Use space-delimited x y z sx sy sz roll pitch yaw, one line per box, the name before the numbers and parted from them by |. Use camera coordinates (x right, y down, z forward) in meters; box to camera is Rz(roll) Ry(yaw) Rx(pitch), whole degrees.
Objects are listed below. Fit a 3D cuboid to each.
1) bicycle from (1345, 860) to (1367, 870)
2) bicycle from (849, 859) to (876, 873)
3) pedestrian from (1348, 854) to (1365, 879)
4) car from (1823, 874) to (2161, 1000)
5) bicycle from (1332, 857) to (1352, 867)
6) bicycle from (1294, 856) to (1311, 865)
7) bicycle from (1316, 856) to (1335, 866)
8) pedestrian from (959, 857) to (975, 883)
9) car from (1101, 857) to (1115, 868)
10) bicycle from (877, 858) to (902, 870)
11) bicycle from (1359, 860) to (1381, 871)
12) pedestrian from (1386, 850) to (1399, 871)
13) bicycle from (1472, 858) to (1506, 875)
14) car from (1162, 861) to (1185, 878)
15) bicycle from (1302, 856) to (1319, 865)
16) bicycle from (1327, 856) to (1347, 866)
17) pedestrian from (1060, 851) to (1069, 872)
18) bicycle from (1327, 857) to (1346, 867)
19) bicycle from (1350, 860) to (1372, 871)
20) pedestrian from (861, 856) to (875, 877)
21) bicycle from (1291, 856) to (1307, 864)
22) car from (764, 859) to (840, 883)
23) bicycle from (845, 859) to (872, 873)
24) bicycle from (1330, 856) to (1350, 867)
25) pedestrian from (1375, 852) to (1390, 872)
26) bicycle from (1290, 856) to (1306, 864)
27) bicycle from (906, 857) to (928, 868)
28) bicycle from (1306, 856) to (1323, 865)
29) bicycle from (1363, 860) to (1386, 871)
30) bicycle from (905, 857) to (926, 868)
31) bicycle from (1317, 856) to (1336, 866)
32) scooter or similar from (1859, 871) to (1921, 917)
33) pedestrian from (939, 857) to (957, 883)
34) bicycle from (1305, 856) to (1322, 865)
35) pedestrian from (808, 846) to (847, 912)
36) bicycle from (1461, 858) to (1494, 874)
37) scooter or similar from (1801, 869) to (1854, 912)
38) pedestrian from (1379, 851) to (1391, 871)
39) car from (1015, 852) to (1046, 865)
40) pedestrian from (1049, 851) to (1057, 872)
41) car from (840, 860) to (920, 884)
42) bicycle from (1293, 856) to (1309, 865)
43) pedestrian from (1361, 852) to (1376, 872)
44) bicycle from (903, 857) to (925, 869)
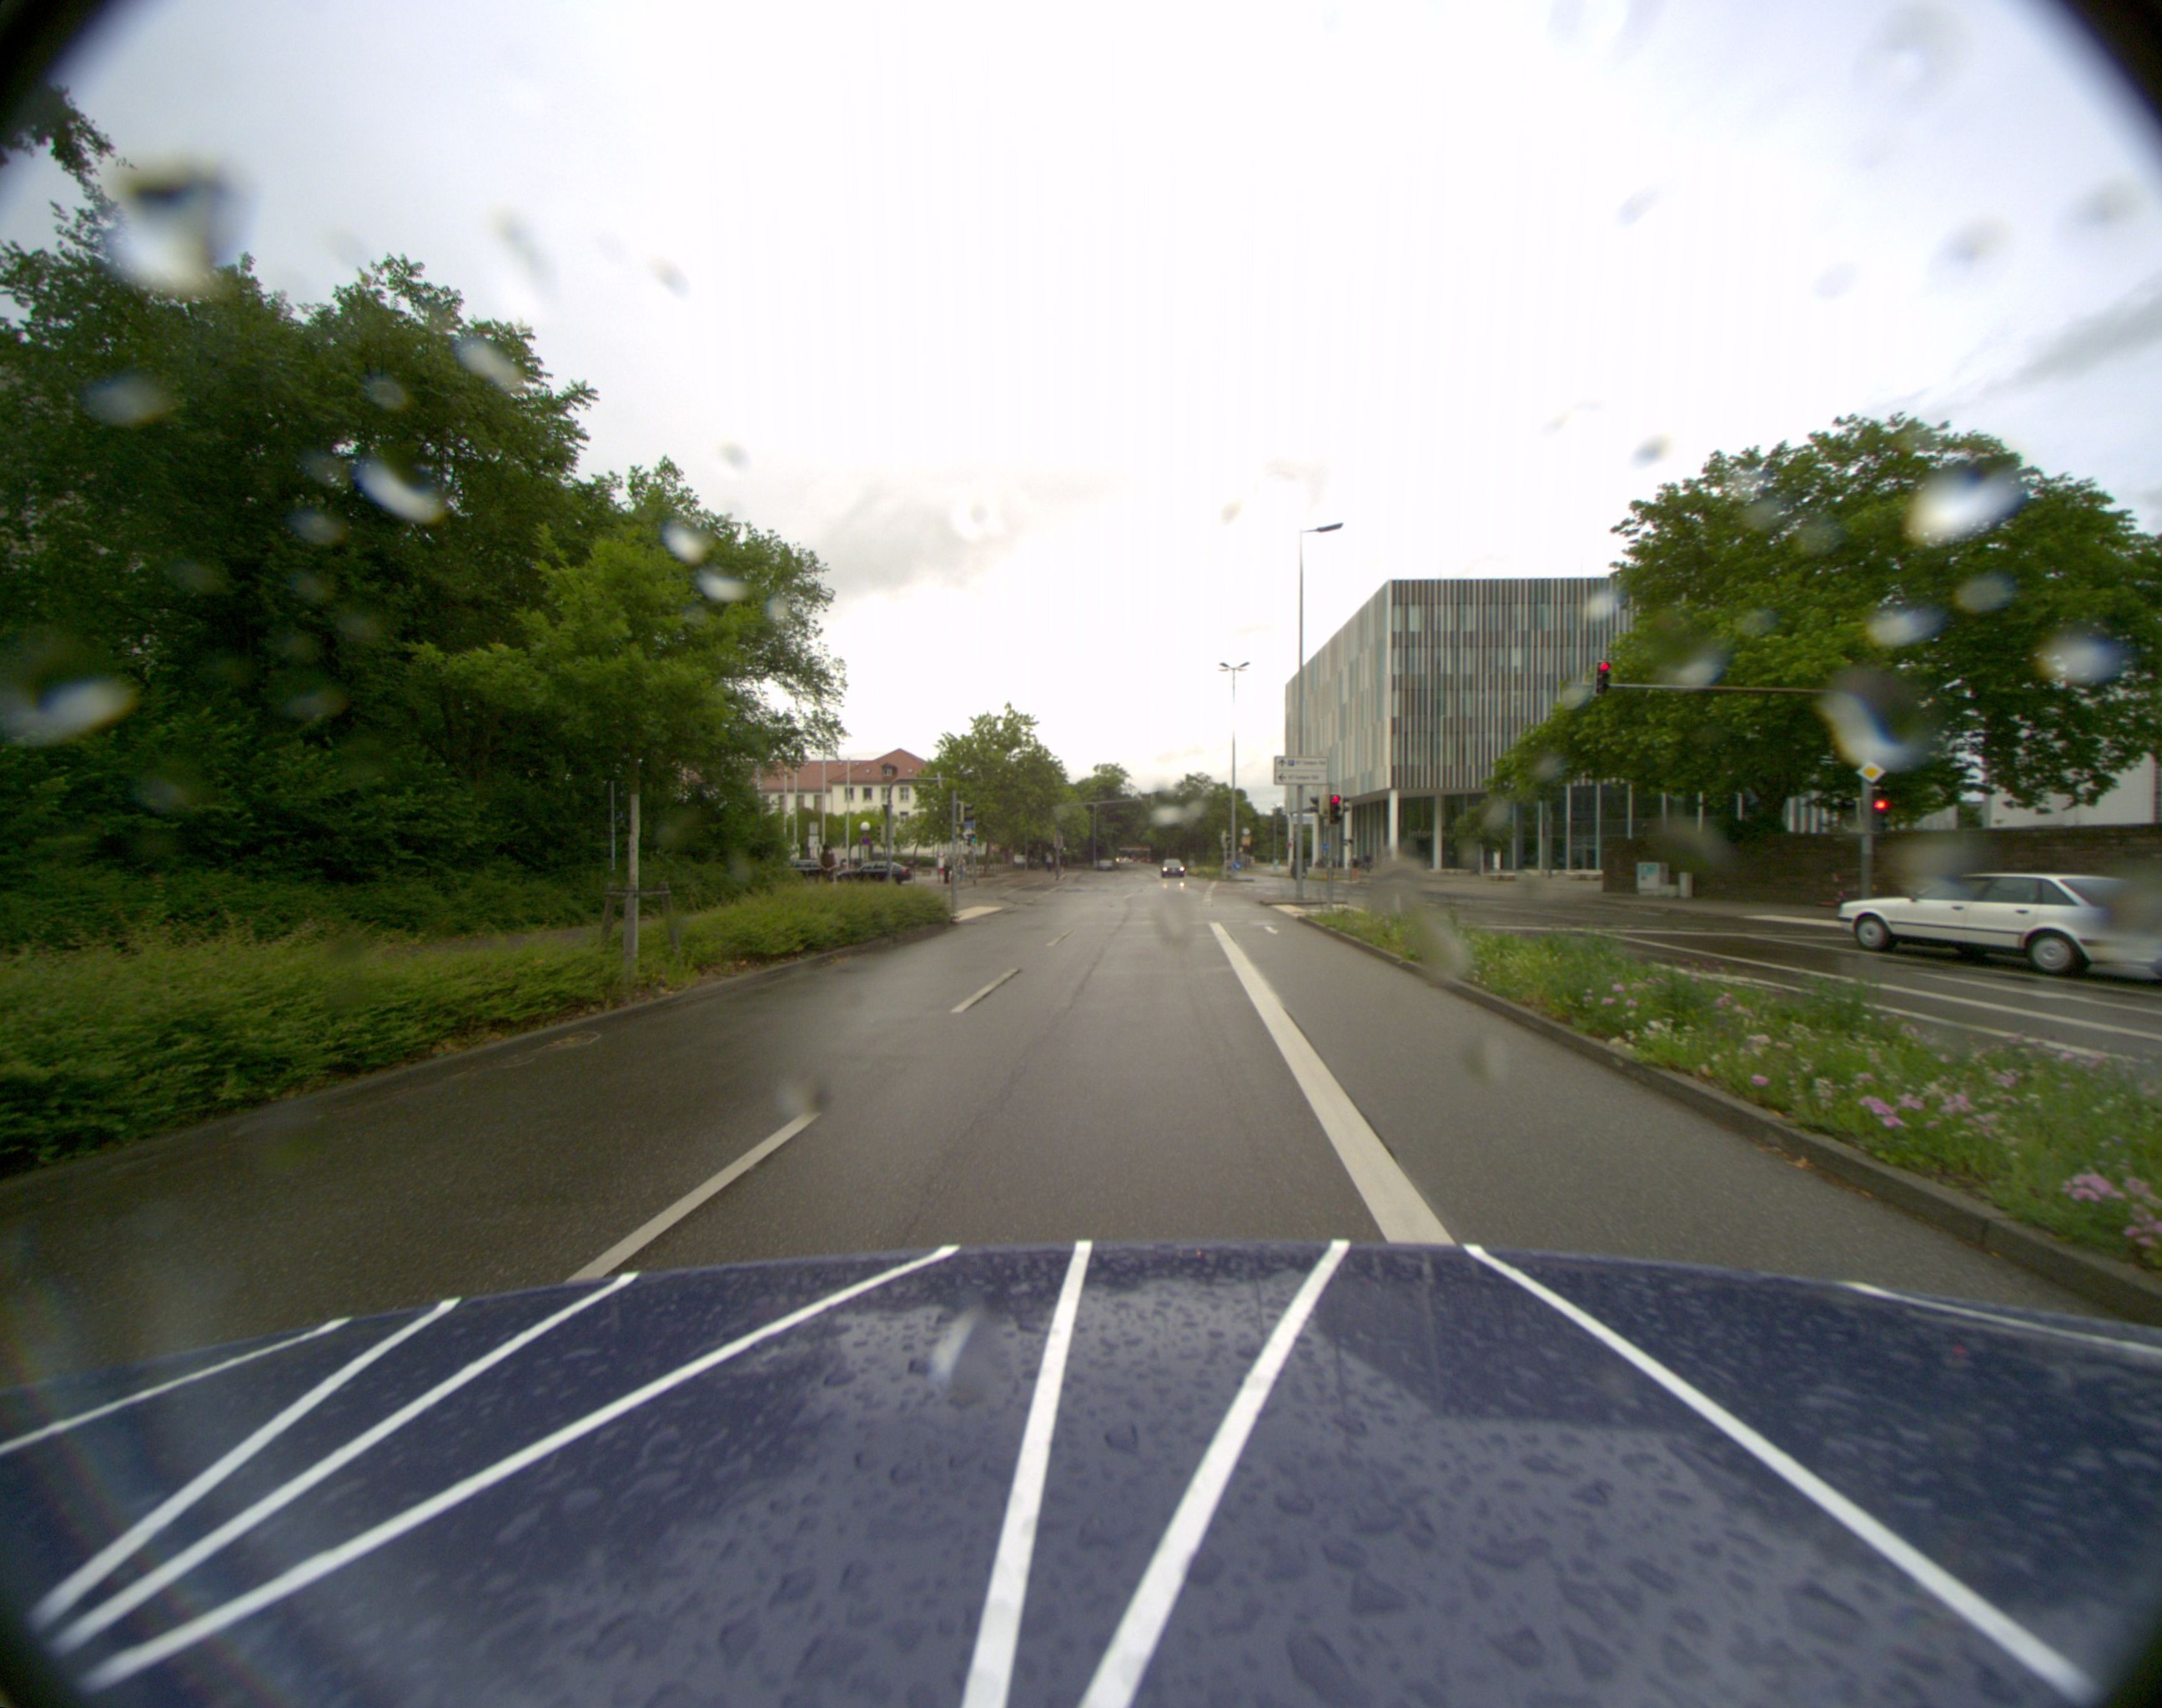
bicycle | 31.081 1.248 85.859 2.286 1.215 0.598 0 0 -7
bicycle | -19.863 1.087 68.983 2.286 1.215 0.598 0 0 -7
pedestrian | 19.909 0.901 54.872 0.787 1.814 0.795 0 0 -18
car | 14.030 1.092 11.444 1.599 1.407 4.526 2 0 6
bicycle | 31.595 0.916 92.099 2.281 1.215 0.599 0 0 15
bicycle | 31.819 0.929 109.227 2.281 1.215 0.599 0 0 15
bicycle | 31.582 0.920 98.129 2.281 1.215 0.599 0 0 15
pedestrian | -7.064 0.975 47.040 0.878 1.598 0.862 0 0 -17
car | 3.466 1.040 96.012 1.660 1.259 4.108 0 0 4
bicycle | -18.365 0.967 73.021 2.286 1.215 0.598 0 0 -7
bicycle | 31.660 1.249 83.297 2.286 1.215 0.598 0 0 -7
pedestrian | 27.670 0.597 67.514 0.787 1.814 0.624 0 0 -18
bicycle | 30.276 0.916 56.373 2.286 1.215 0.598 0 0 -7
car | 7.607 1.271 62.860 1.660 1.356 4.108 0 0 4
bicycle | 32.410 0.931 107.537 2.281 1.215 0.599 0 0 15
bicycle | 31.728 0.919 94.218 2.281 1.215 0.599 0 0 15
pedestrian | -1.500 0.668 68.263 0.625 1.814 0.786 0 0 -17
bicycle | 31.970 0.988 95.117 2.281 1.215 0.599 0 0 15
bicycle | 31.257 1.248 84.743 2.286 1.215 0.598 0 0 -7
pedestrian | -17.099 0.986 60.920 0.851 1.728 1.121 0 1 -27
bicycle | 32.293 0.934 112.587 2.281 1.215 0.599 0 0 15
car | -17.175 1.042 46.907 4.012 1.371 1.773 0 3 4
bicycle | -19.942 1.086 68.104 2.286 1.215 0.598 0 0 -7
bicycle | 31.719 0.918 93.180 2.281 1.215 0.599 0 0 15
pedestrian | 28.038 0.739 70.641 0.940 1.814 0.922 0 0 -18
bicycle | 32.621 0.936 114.180 2.281 1.215 0.599 0 0 15
bicycle | -18.299 0.975 84.853 2.286 1.215 0.598 0 0 -7
bicycle | 32.615 0.931 106.240 2.281 1.215 0.599 0 0 15
bicycle | 31.938 1.250 82.656 2.286 1.215 0.598 0 0 -7
bicycle | -18.230 0.975 83.772 2.286 1.215 0.598 0 0 -7
bicycle | 31.378 0.919 97.317 2.281 1.215 0.599 0 0 15
scooter or similar | 22.643 1.095 21.296 0.392 1.191 1.142 -7 0 -1
pedestrian | -8.222 0.960 46.948 0.878 1.598 0.862 0 0 -24
bicycle | 32.286 0.929 105.623 2.281 1.215 0.599 0 0 15
pedestrian | -7.272 0.700 21.807 0.731 1.848 0.851 0 0 12
bicycle | 29.953 0.889 57.388 2.286 1.215 0.598 0 0 -7
scooter or similar | 22.696 1.097 23.129 0.392 1.191 1.142 -7 0 1
pedestrian | 27.711 0.644 69.191 0.787 1.814 0.624 0 0 -18
car | -7.279 0.699 110.573 4.424 1.862 1.638 0 0 -2
pedestrian | -2.552 0.665 68.287 0.625 1.814 0.786 0 0 -9
car | -12.309 1.075 46.747 4.386 1.330 1.773 0 3 2
bicycle | 31.854 0.930 110.112 2.281 1.215 0.599 0 0 15
pedestrian | 26.966 0.732 71.304 0.941 1.814 0.922 0 0 -25
bicycle | -18.220 0.975 82.760 2.286 1.215 0.598 0 0 -7
